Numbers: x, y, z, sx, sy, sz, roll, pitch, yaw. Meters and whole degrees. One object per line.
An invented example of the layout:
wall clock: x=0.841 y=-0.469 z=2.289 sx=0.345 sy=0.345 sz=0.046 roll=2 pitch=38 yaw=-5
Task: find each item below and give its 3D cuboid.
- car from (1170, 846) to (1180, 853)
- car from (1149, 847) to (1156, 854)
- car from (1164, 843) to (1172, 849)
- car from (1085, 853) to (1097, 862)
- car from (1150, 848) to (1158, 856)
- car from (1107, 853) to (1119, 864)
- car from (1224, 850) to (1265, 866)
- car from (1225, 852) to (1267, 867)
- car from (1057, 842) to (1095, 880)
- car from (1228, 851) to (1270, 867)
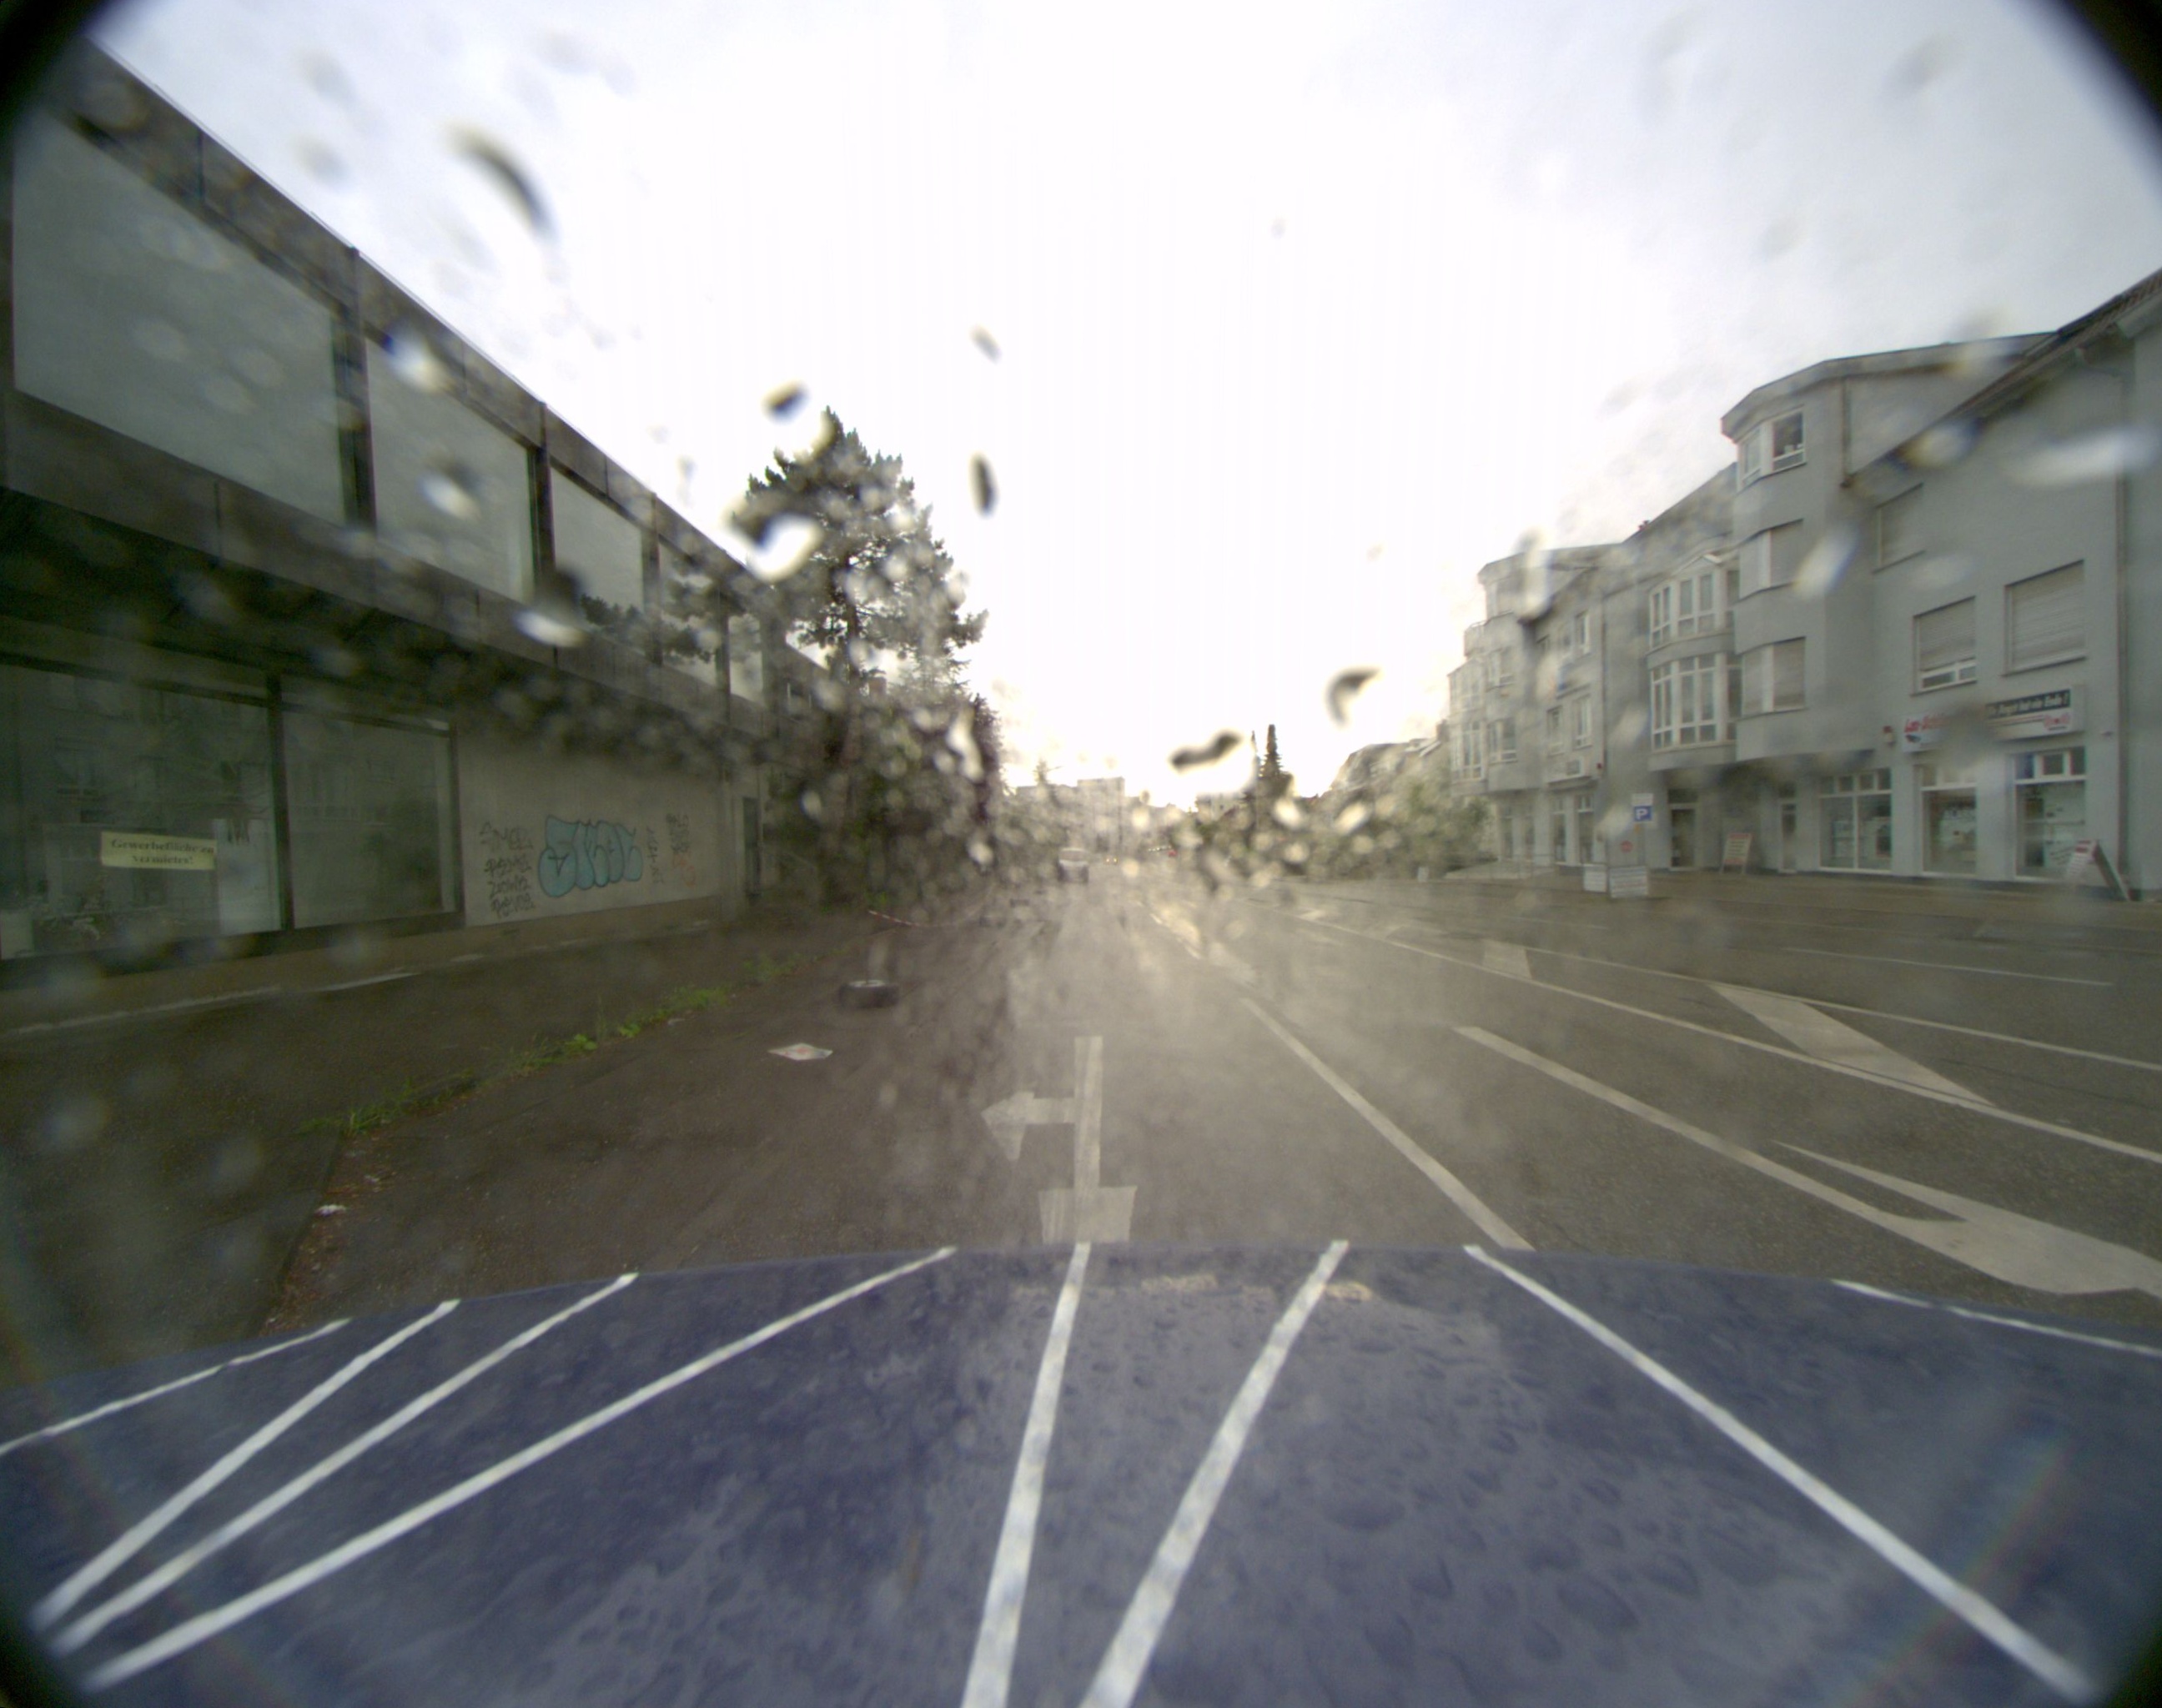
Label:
car: x=22.452 y=-1.039 z=180.602 sx=1.997 sy=1.606 sz=4.003 roll=-1 pitch=0 yaw=11
car: x=17.977 y=-0.964 z=191.223 sx=1.851 sy=1.753 sz=4.123 roll=-1 pitch=0 yaw=6
car: x=24.481 y=-2.179 z=214.530 sx=1.850 sy=1.753 sz=4.124 roll=-1 pitch=0 yaw=11
car: x=1.803 y=0.598 z=133.923 sx=1.912 sy=1.622 sz=3.703 roll=-1 pitch=0 yaw=5
car: x=17.693 y=-0.609 z=184.187 sx=1.851 sy=1.870 sz=4.122 roll=-1 pitch=0 yaw=5
car: x=5.647 y=0.786 z=133.139 sx=1.835 sy=1.783 sz=3.838 roll=-3 pitch=0 yaw=3
car: x=17.805 y=0.478 z=82.910 sx=4.114 sy=1.536 sz=2.001 roll=-3 pitch=0 yaw=6
car: x=17.392 y=0.554 z=80.199 sx=4.155 sy=1.434 sz=1.891 roll=-3 pitch=0 yaw=8
car: x=-0.296 y=0.444 z=51.746 sx=2.397 sy=2.417 sz=6.433 roll=-1 pitch=0 yaw=1
car: x=17.156 y=0.544 z=77.716 sx=4.034 sy=1.434 sz=1.813 roll=-3 pitch=0 yaw=6
